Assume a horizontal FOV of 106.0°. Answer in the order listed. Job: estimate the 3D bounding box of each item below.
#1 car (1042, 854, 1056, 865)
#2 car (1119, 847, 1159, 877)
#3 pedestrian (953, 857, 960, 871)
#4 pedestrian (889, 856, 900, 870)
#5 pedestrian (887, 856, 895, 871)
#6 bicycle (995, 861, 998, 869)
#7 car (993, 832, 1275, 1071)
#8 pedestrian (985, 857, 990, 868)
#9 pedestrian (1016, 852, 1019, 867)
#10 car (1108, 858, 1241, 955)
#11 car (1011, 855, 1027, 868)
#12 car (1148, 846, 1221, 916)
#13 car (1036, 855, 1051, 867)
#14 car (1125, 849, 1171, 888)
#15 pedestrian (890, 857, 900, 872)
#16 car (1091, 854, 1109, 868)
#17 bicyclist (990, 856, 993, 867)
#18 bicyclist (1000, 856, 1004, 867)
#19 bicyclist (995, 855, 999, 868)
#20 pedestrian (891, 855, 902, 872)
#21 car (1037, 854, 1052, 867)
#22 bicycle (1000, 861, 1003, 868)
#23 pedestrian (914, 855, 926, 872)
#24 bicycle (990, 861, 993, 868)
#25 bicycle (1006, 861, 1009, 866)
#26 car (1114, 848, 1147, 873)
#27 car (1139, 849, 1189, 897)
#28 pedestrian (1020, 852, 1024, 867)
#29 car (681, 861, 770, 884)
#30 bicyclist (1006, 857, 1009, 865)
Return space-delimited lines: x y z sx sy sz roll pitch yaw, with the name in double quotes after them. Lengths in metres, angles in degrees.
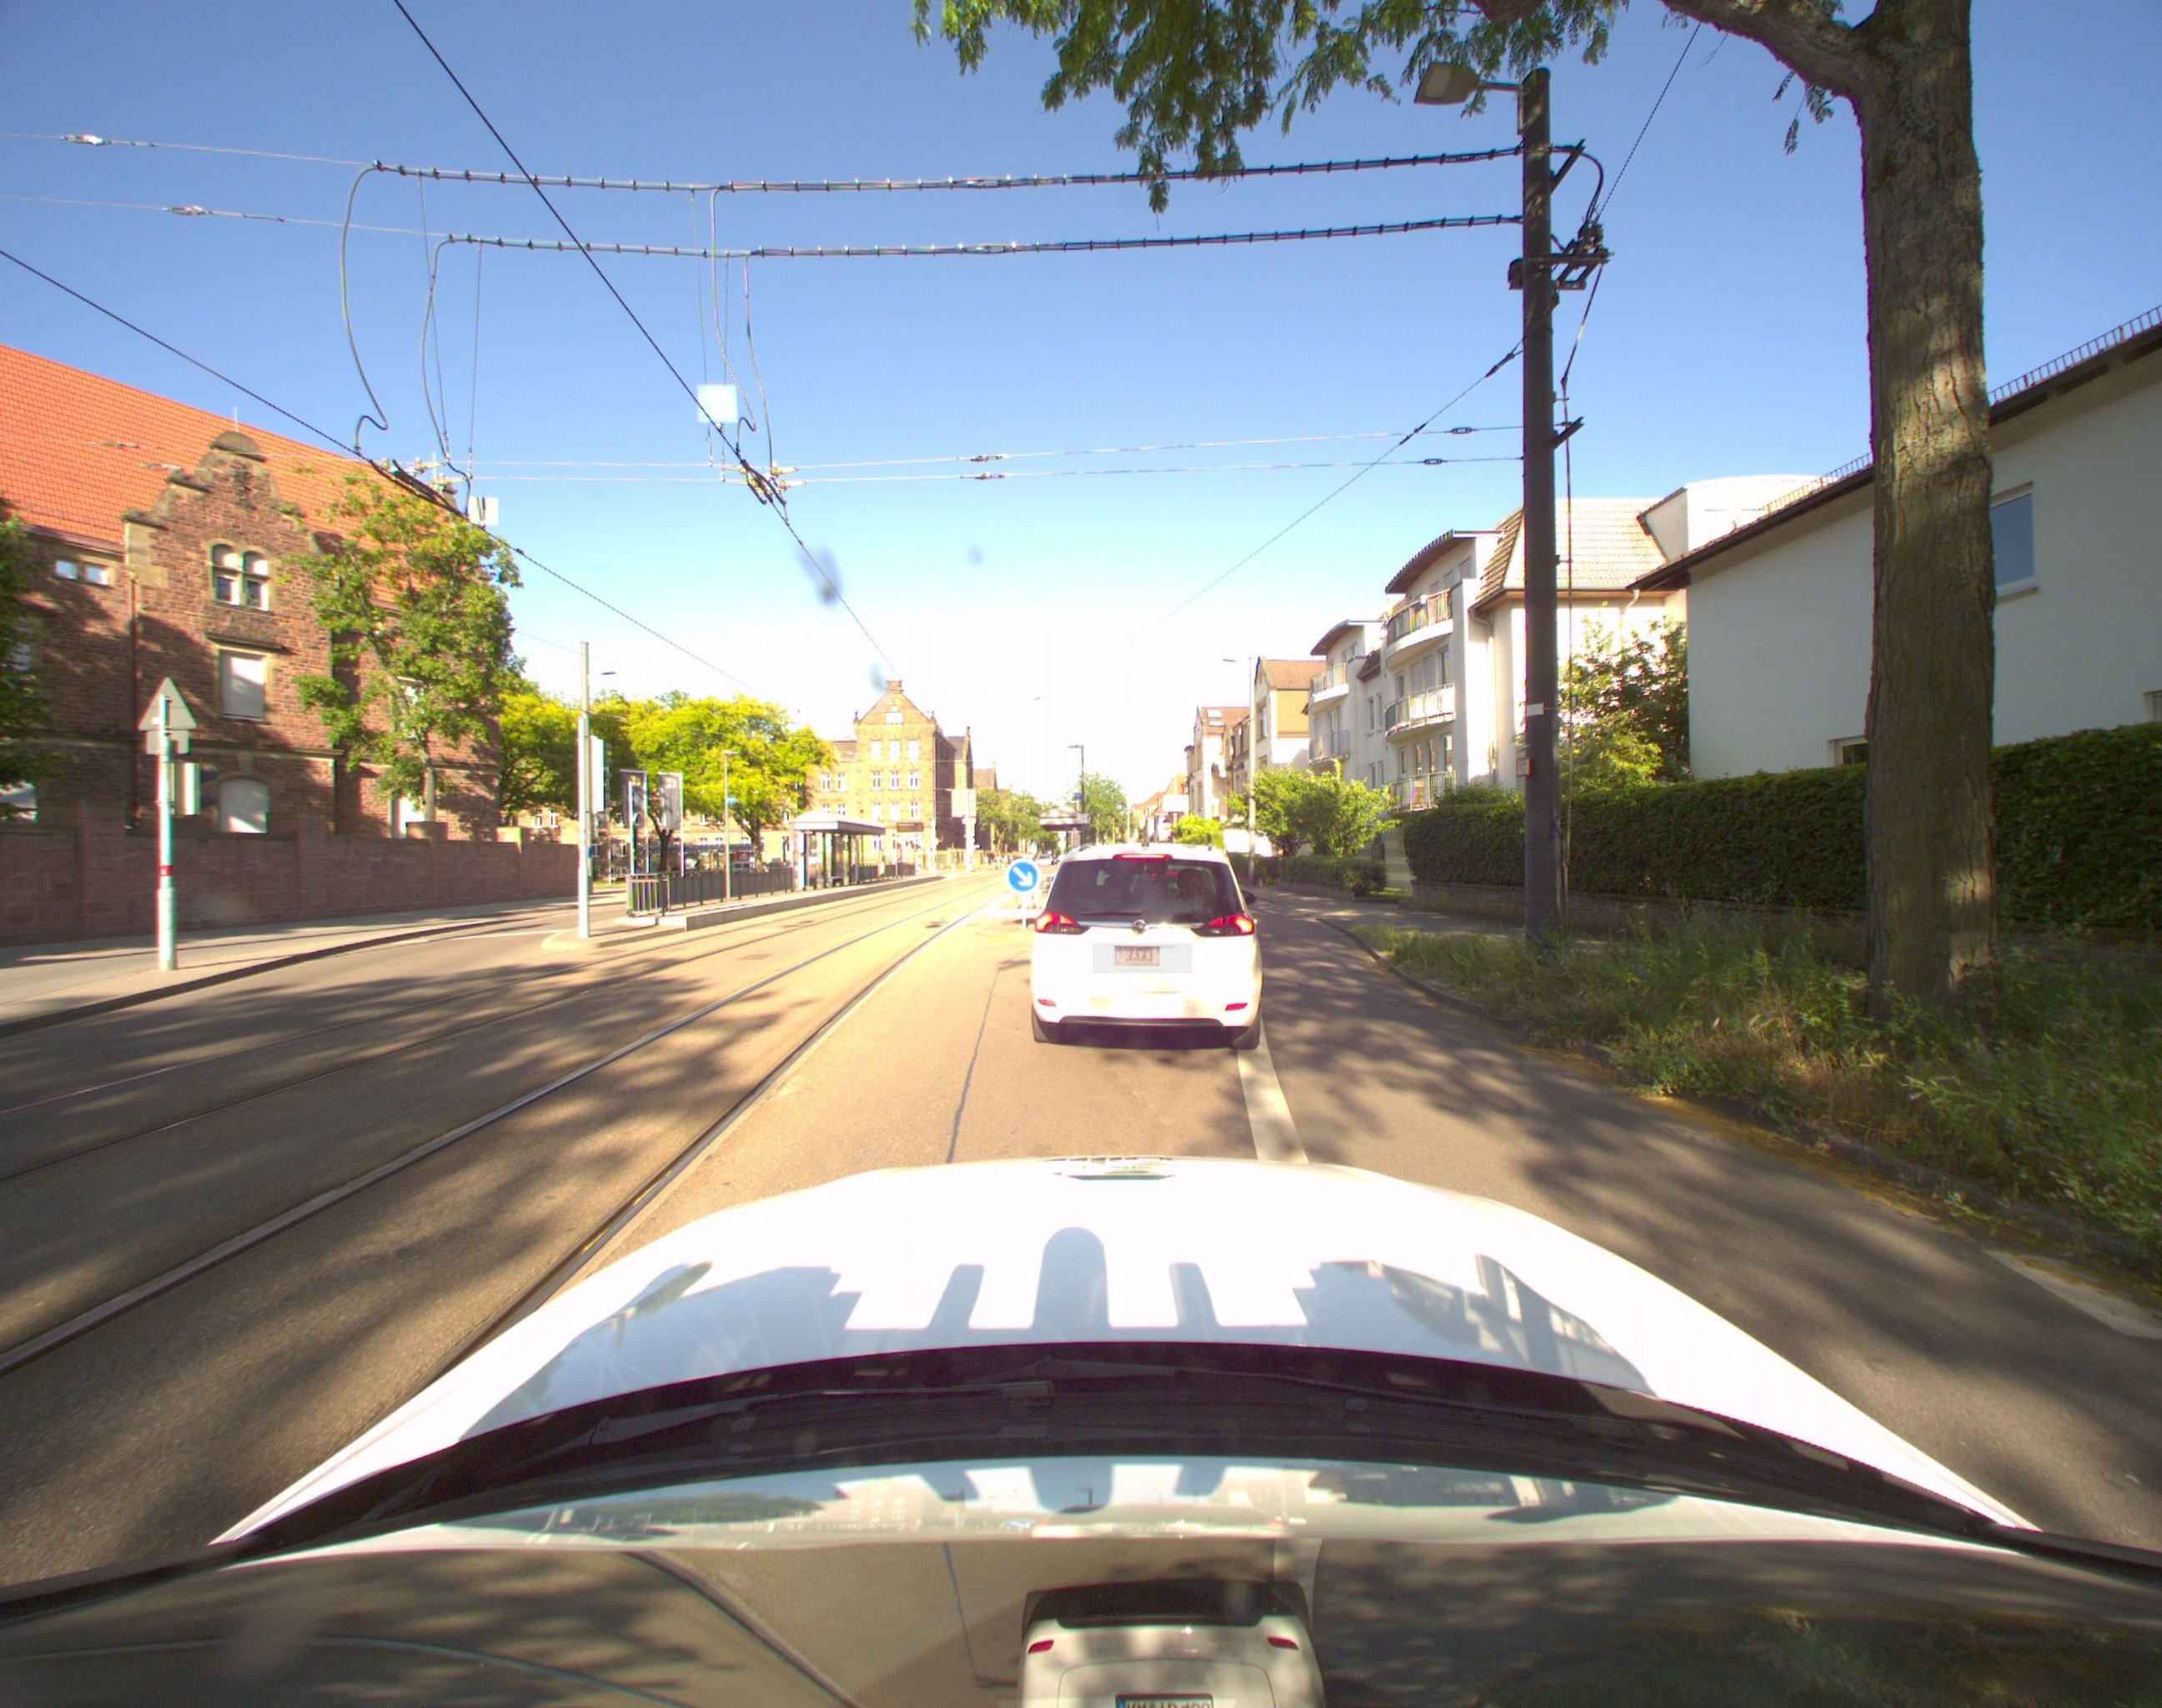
-5.125 0.908 130.996 1.987 1.629 4.000 -1 0 0 "car"
3.127 0.413 44.380 1.986 1.503 4.002 -1 0 2 "car"
-15.086 1.214 98.398 0.732 1.714 0.707 0 -1 1 "pedestrian"
-20.248 0.983 88.422 0.923 1.588 0.809 -1 -1 24 "pedestrian"
-20.552 1.051 88.166 0.802 1.588 0.931 0 -1 -11 "pedestrian"
-10.710 1.415 103.529 0.343 0.950 1.160 0 -1 -1 "bicycle"
0.642 0.683 7.708 1.982 1.644 4.003 0 0 8 "car"
-15.251 1.352 132.582 0.733 1.714 0.753 0 -1 -4 "pedestrian"
-8.764 0.775 112.368 0.443 2.013 0.495 -1 0 -2 "pedestrian"
1.530 0.790 14.070 1.944 1.397 4.005 -1 0 4 "car"
-8.187 0.924 107.485 1.989 1.629 3.996 -1 0 -3 "car"
2.572 0.637 20.898 1.630 1.601 3.859 -1 0 4 "car"
-5.291 0.953 114.749 1.989 1.629 3.996 -1 0 -3 "car"
2.930 0.610 36.254 1.824 1.579 4.012 -1 0 2 "car"
-19.103 1.090 83.730 0.799 1.588 0.934 0 -1 0 "pedestrian"
2.252 0.781 98.997 1.988 1.629 3.998 -1 0 -1 "car"
-12.679 1.060 115.608 0.443 1.553 0.495 -1 0 -2 "bicyclist"
-10.657 0.997 109.609 0.443 1.553 0.495 -1 0 -2 "bicyclist"
-10.703 0.949 103.739 0.443 1.553 0.742 -1 0 -2 "bicyclist"
-18.674 0.950 82.292 0.839 1.691 1.029 0 -1 1 "pedestrian"
-4.811 0.892 107.627 1.989 1.629 3.996 -1 0 -3 "car"
-10.656 1.464 109.614 0.343 0.950 0.996 0 -1 -1 "bicycle"
-16.339 0.928 82.632 0.892 1.684 1.029 0 -1 1 "pedestrian"
-12.673 1.528 115.642 0.343 0.950 0.996 0 -1 -1 "bicycle"
-11.119 1.439 123.661 0.343 0.725 0.996 0 -1 -1 "bicycle"
3.102 0.384 51.848 1.986 1.503 4.002 -1 0 2 "car"
2.943 0.634 29.324 1.630 1.601 3.859 -1 0 4 "car"
-8.148 0.773 112.655 0.443 2.013 0.495 -1 0 -2 "pedestrian"
-32.958 1.703 75.707 6.926 1.921 2.992 -1 0 0 "car"
-11.130 1.053 123.630 0.358 1.303 0.397 -1 0 -2 "bicyclist"
